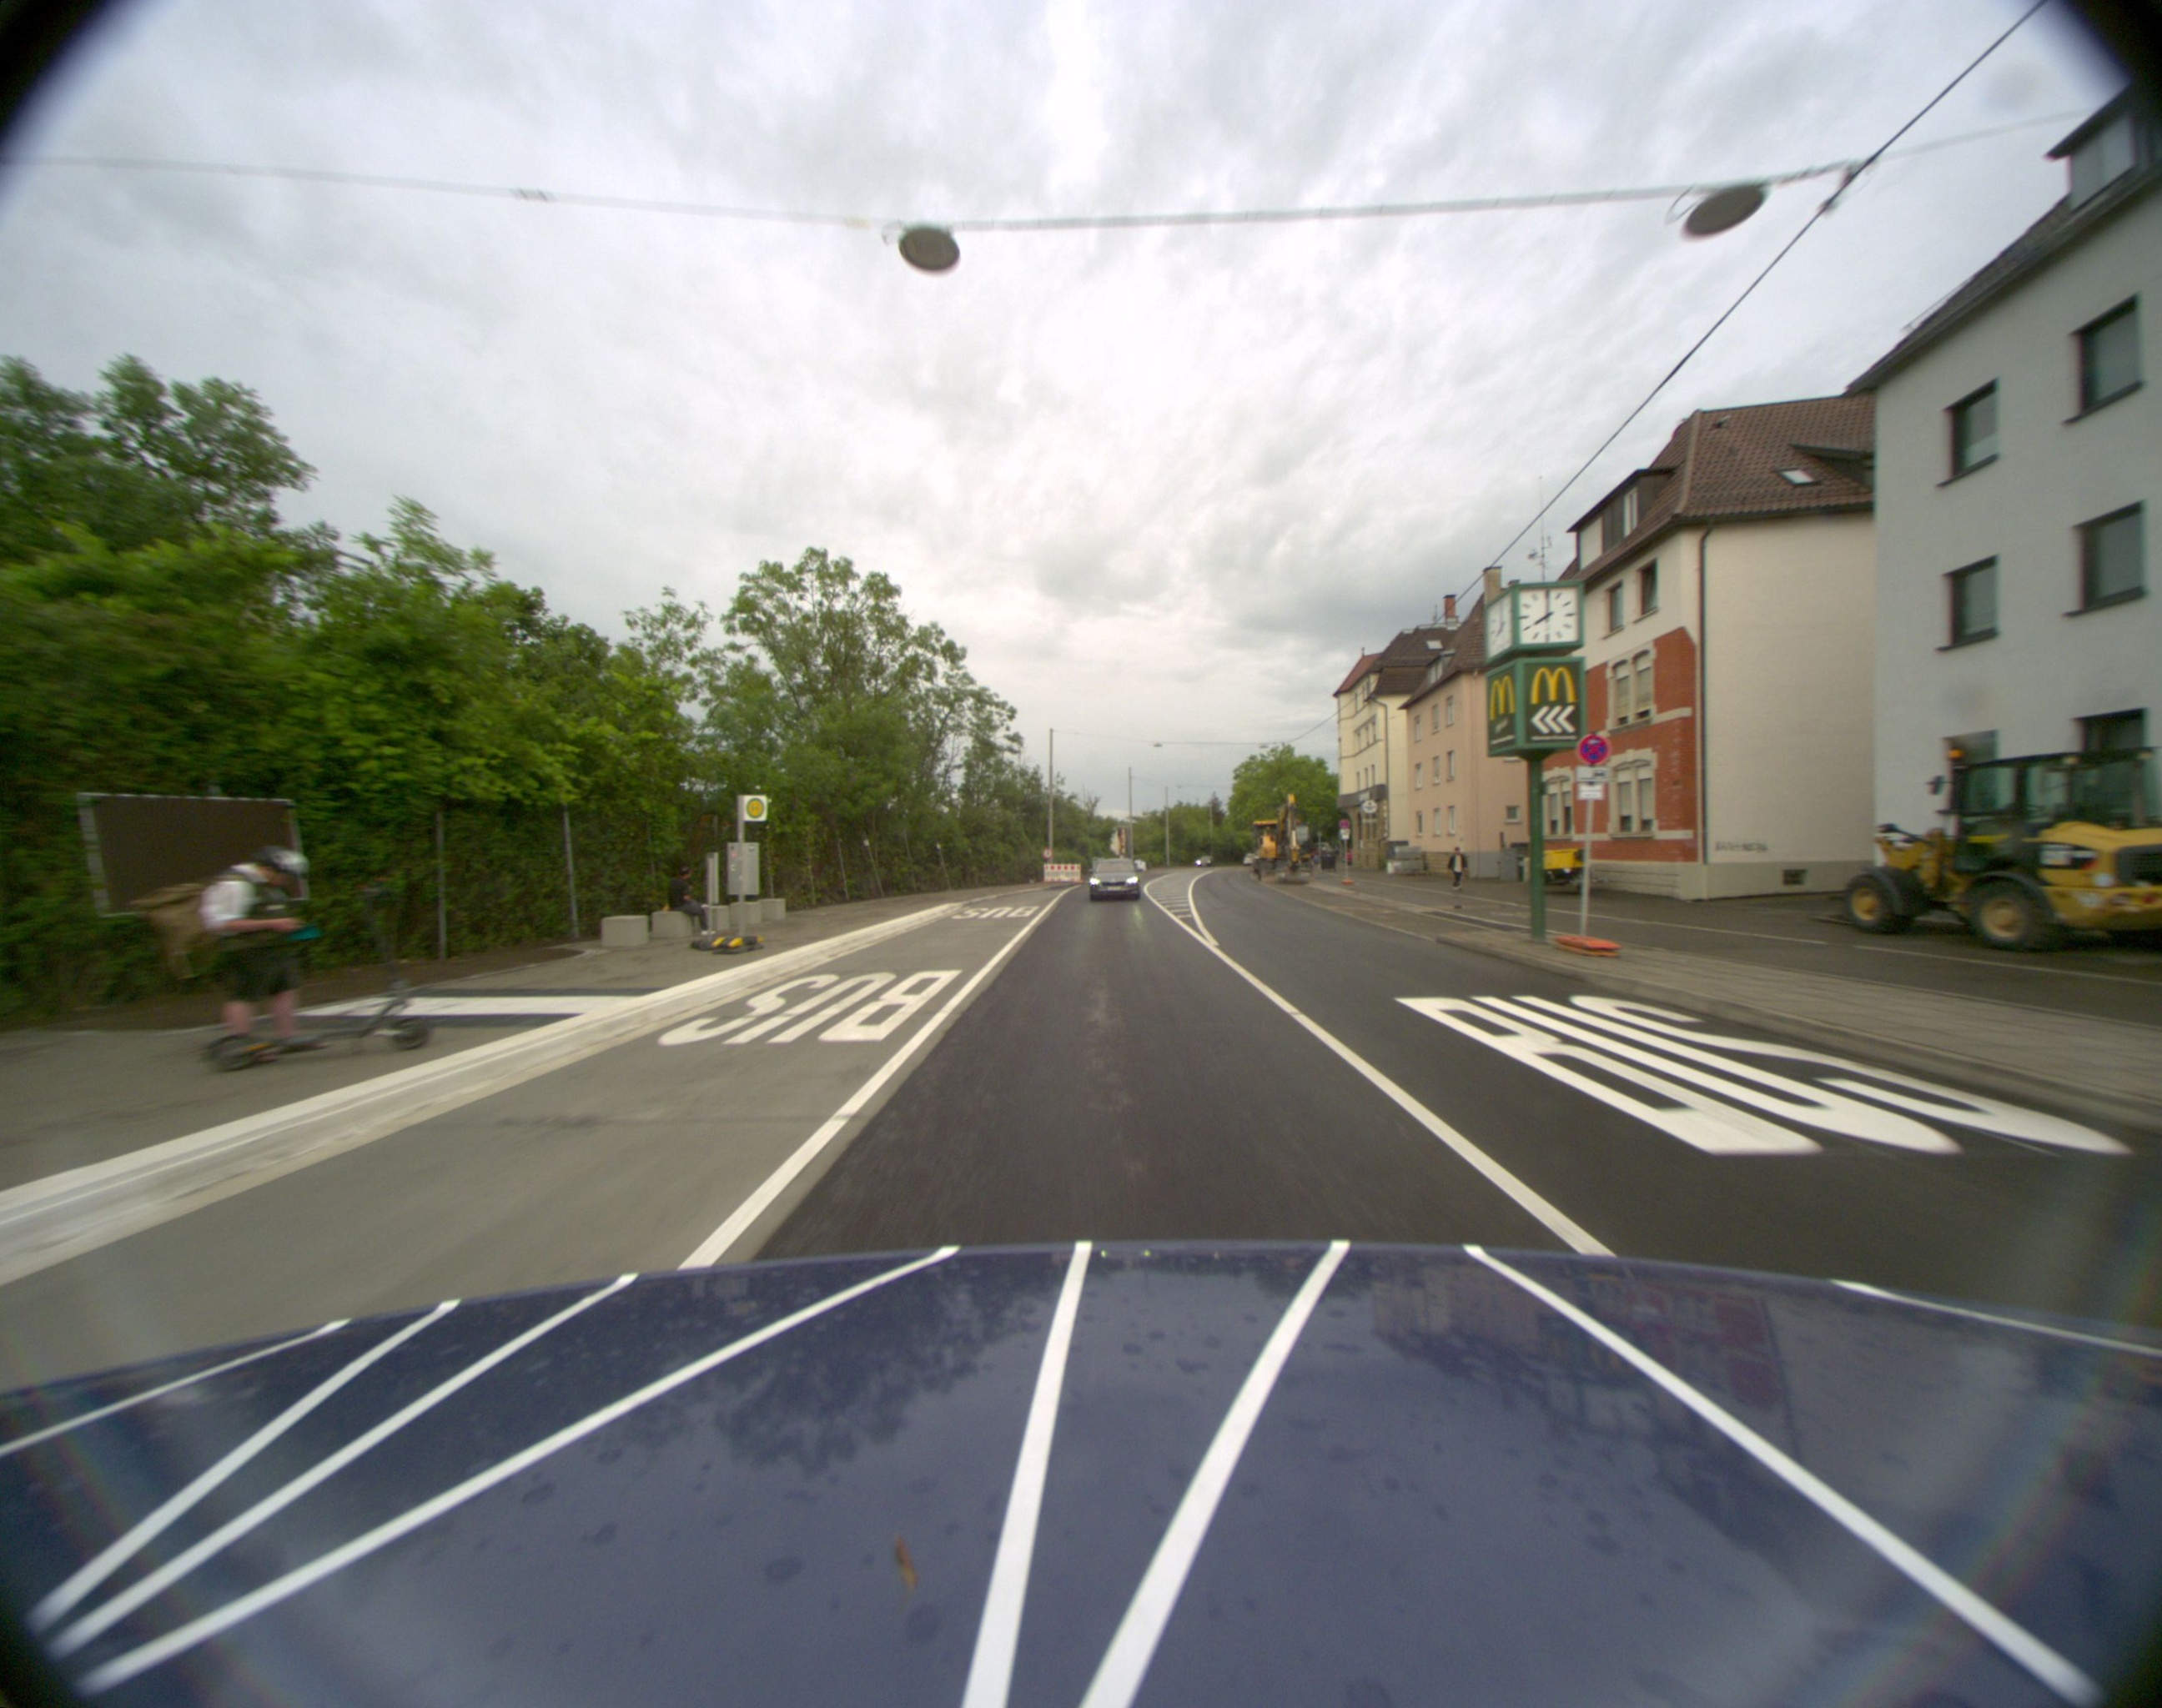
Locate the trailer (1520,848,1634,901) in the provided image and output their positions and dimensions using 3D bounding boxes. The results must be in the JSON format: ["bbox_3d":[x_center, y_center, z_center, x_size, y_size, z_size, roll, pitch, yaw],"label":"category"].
[{"bbox_3d":[14.586,0.551,22.591,1.326,1.391,3.999,-2,0,10],"label":"trailer"}]

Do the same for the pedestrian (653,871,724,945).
[{"bbox_3d":[-7.521,1.003,14.560,1.070,1.322,0.808,-2,1,-35],"label":"pedestrian"}]

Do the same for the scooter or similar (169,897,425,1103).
[{"bbox_3d":[-5.648,1.004,5.551,1.245,1.308,0.231,-2,1,-38],"label":"scooter or similar"}]

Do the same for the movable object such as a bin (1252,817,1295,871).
[{"bbox_3d":[14.902,-0.751,58.677,2.952,3.821,8.136,-1,0,15],"label":"movable object such as a bin"}]

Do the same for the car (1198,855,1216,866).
[{"bbox_3d":[16.021,0.771,96.321,1.604,1.295,3.718,-2,-1,19],"label":"car"}]

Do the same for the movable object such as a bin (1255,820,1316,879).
[{"bbox_3d":[11.433,-0.240,42.763,2.829,3.094,4.637,-1,0,9],"label":"movable object such as a bin"}]

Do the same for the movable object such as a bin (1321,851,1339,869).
[{"bbox_3d":[18.202,0.436,55.467,1.159,1.295,1.248,-1,1,15],"label":"movable object such as a bin"}]

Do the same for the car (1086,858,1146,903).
[{"bbox_3d":[1.361,0.925,27.976,1.836,1.429,4.002,-2,0,7],"label":"car"}]

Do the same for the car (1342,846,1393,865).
[{"bbox_3d":[25.845,0.119,68.688,3.994,1.655,1.913,-1,1,10],"label":"car"}]

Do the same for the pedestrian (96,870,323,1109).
[{"bbox_3d":[-6.190,0.899,5.463,0.922,1.538,0.543,-2,1,-35],"label":"pedestrian"}]

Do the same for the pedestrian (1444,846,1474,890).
[{"bbox_3d":[13.556,0.501,27.281,0.603,1.519,1.038,-3,0,7],"label":"pedestrian"}]

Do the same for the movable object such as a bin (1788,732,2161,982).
[{"bbox_3d":[13.181,0.000,10.852,2.133,2.790,4.983,-3,0,11],"label":"movable object such as a bin"}]

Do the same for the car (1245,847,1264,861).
[{"bbox_3d":[21.911,0.007,95.790,1.960,1.634,4.450,-1,0,18],"label":"car"}]
